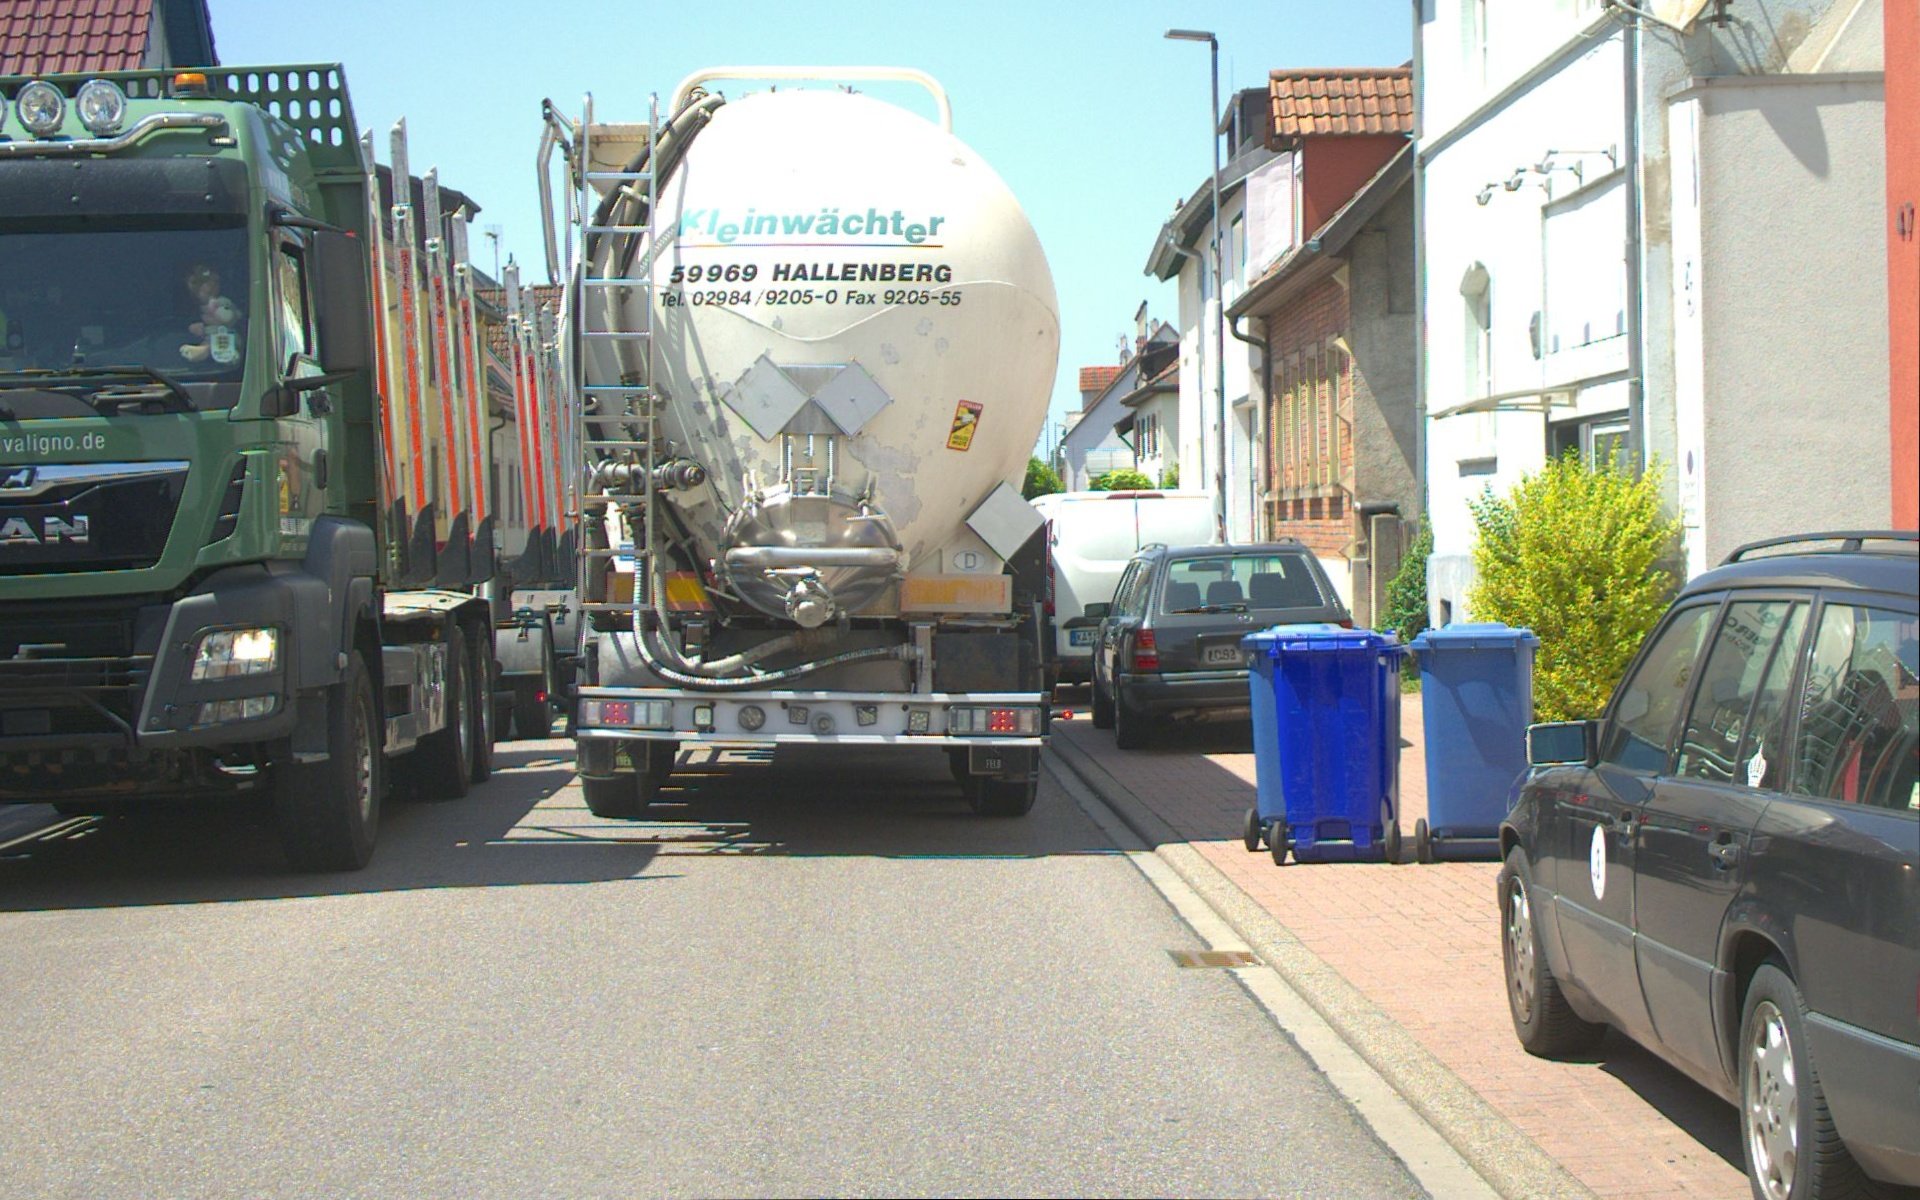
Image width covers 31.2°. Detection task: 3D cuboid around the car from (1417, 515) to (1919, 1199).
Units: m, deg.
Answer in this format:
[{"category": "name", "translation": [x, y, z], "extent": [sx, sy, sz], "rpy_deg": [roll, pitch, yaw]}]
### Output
[{"category": "car", "translation": [2.349, 0.549, 8.130], "extent": [1.700, 1.442, 4.837], "rpy_deg": [-3, 1, -1]}]

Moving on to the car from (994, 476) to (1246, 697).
[{"category": "car", "translation": [1.486, -0.177, 33.761], "extent": [1.946, 1.963, 4.786], "rpy_deg": [-2, 1, -3]}]

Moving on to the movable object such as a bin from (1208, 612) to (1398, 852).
[{"category": "movable object such as a bin", "translation": [1.660, 0.622, 16.524], "extent": [0.722, 1.069, 0.971], "rpy_deg": [-2, 1, 15]}]

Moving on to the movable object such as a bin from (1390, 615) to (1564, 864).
[{"category": "movable object such as a bin", "translation": [2.361, 0.624, 15.645], "extent": [0.654, 1.056, 0.835], "rpy_deg": [-2, 1, 15]}]

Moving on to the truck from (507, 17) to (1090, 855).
[{"category": "truck", "translation": [-0.886, -0.821, 20.369], "extent": [2.732, 3.946, 8.142], "rpy_deg": [0, 1, -2]}]

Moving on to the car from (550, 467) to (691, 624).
[{"category": "car", "translation": [-5.856, -0.970, 59.883], "extent": [2.125, 2.533, 5.462], "rpy_deg": [-2, 1, -3]}]

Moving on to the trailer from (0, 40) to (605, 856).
[{"category": "trailer", "translation": [-4.492, -0.880, 24.874], "extent": [2.630, 3.965, 15.700], "rpy_deg": [-2, 1, -2]}]

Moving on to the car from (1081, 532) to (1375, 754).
[{"category": "car", "translation": [1.924, 0.250, 25.919], "extent": [1.770, 1.461, 4.578], "rpy_deg": [-2, 1, -1]}]

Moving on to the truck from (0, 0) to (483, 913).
[{"category": "truck", "translation": [-4.243, -0.724, 17.931], "extent": [2.618, 3.972, 6.853], "rpy_deg": [-2, 1, -2]}]

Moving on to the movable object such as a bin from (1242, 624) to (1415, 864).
[{"category": "movable object such as a bin", "translation": [1.700, 0.653, 15.799], "extent": [0.656, 1.031, 0.684], "rpy_deg": [-2, 1, 15]}]
